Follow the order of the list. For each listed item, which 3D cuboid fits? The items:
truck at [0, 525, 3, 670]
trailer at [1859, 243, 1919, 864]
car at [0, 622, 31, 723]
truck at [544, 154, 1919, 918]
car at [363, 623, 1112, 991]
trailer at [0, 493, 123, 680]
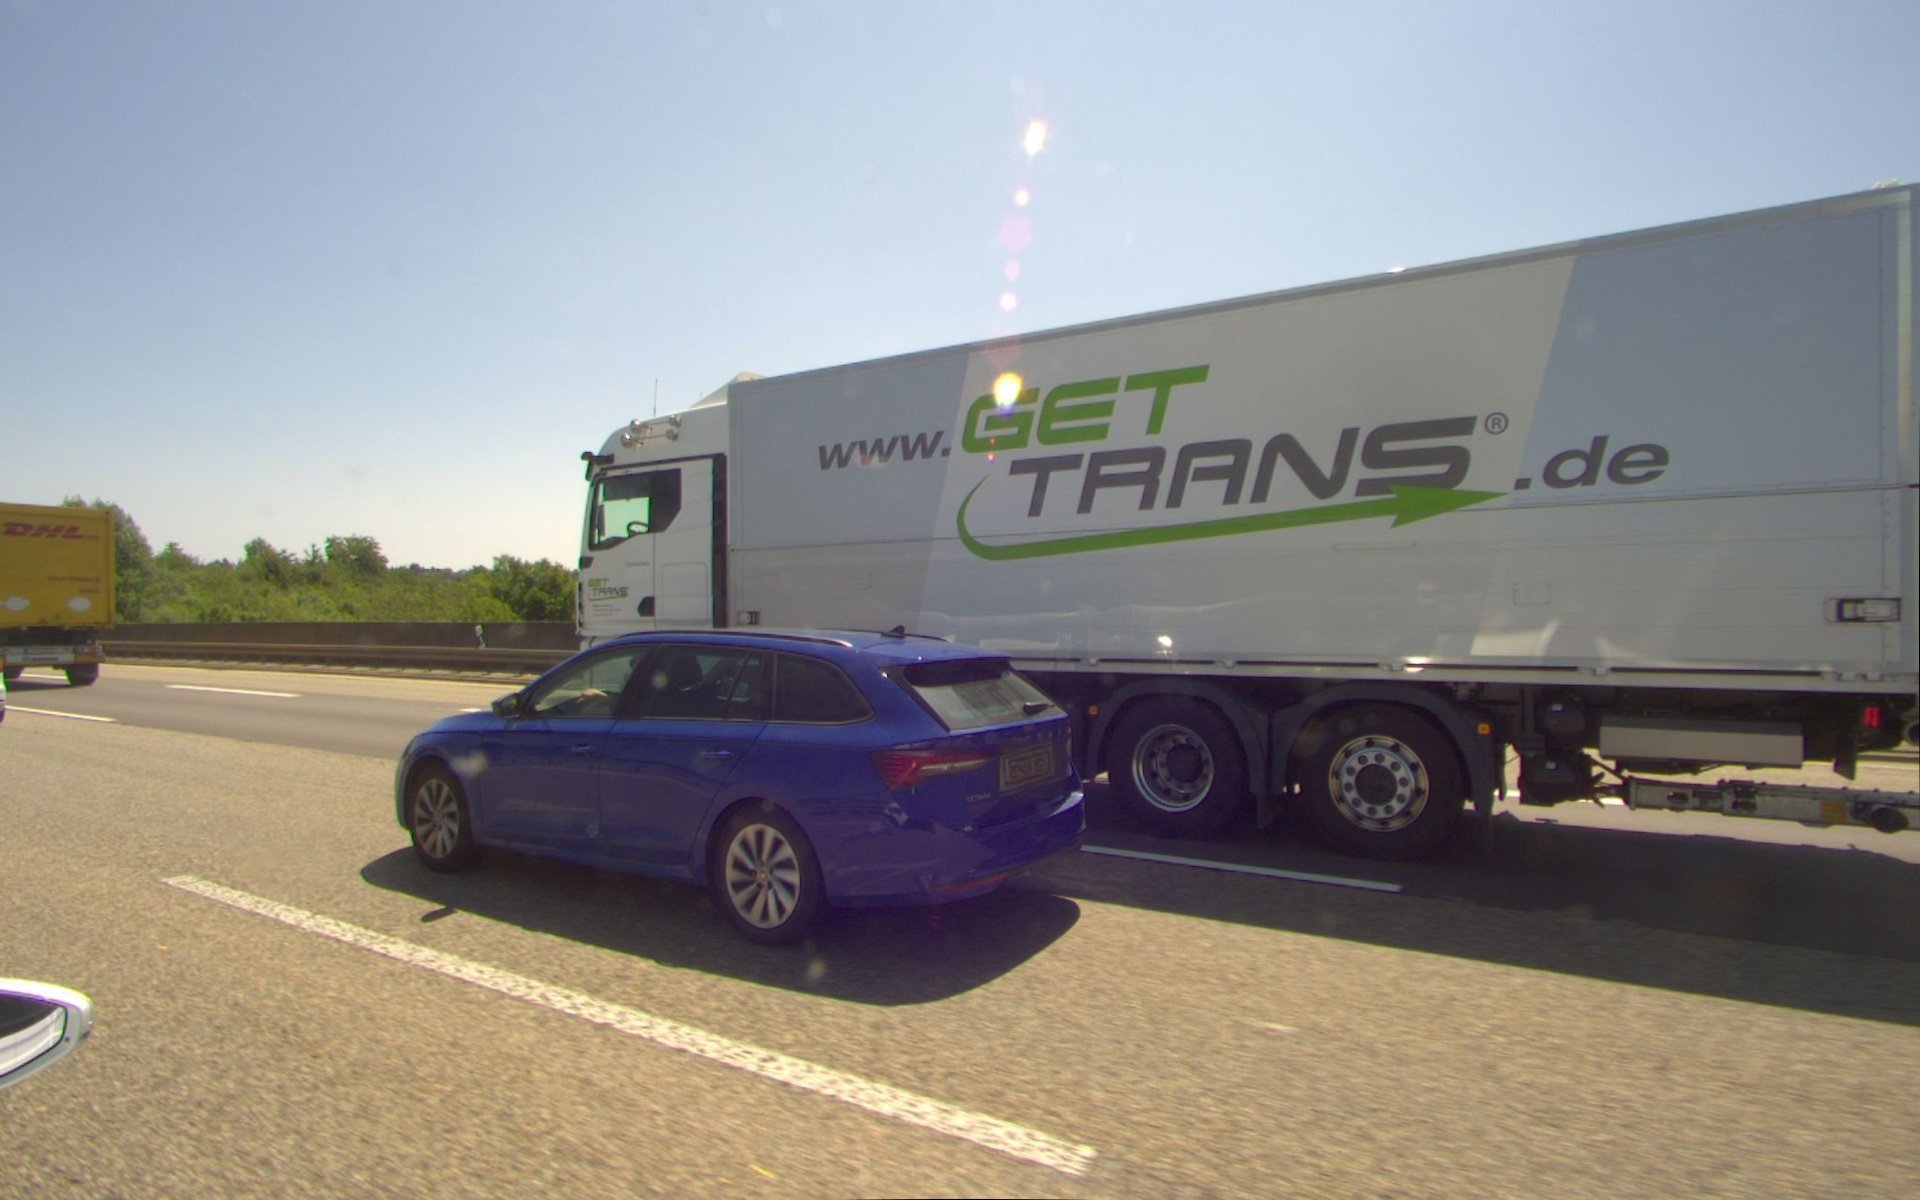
[{"bbox_3d":[-32.131,-0.014,29.934,10.190,4.106,2.717,-1,-2,33],"label":"truck"},{"bbox_3d":[9.077,-0.305,3.680,8.171,3.641,2.840,0,-1,32],"label":"trailer"},{"bbox_3d":[-15.447,1.020,14.614,4.128,1.405,1.778,-1,-1,32],"label":"car"},{"bbox_3d":[1.031,-0.187,8.626,10.612,3.648,2.847,-1,-2,31],"label":"truck"},{"bbox_3d":[-1.487,0.873,5.924,4.436,1.459,1.707,-1,-1,32],"label":"car"},{"bbox_3d":[-24.144,-0.184,24.803,8.804,4.074,2.697,-1,-2,33],"label":"trailer"}]
